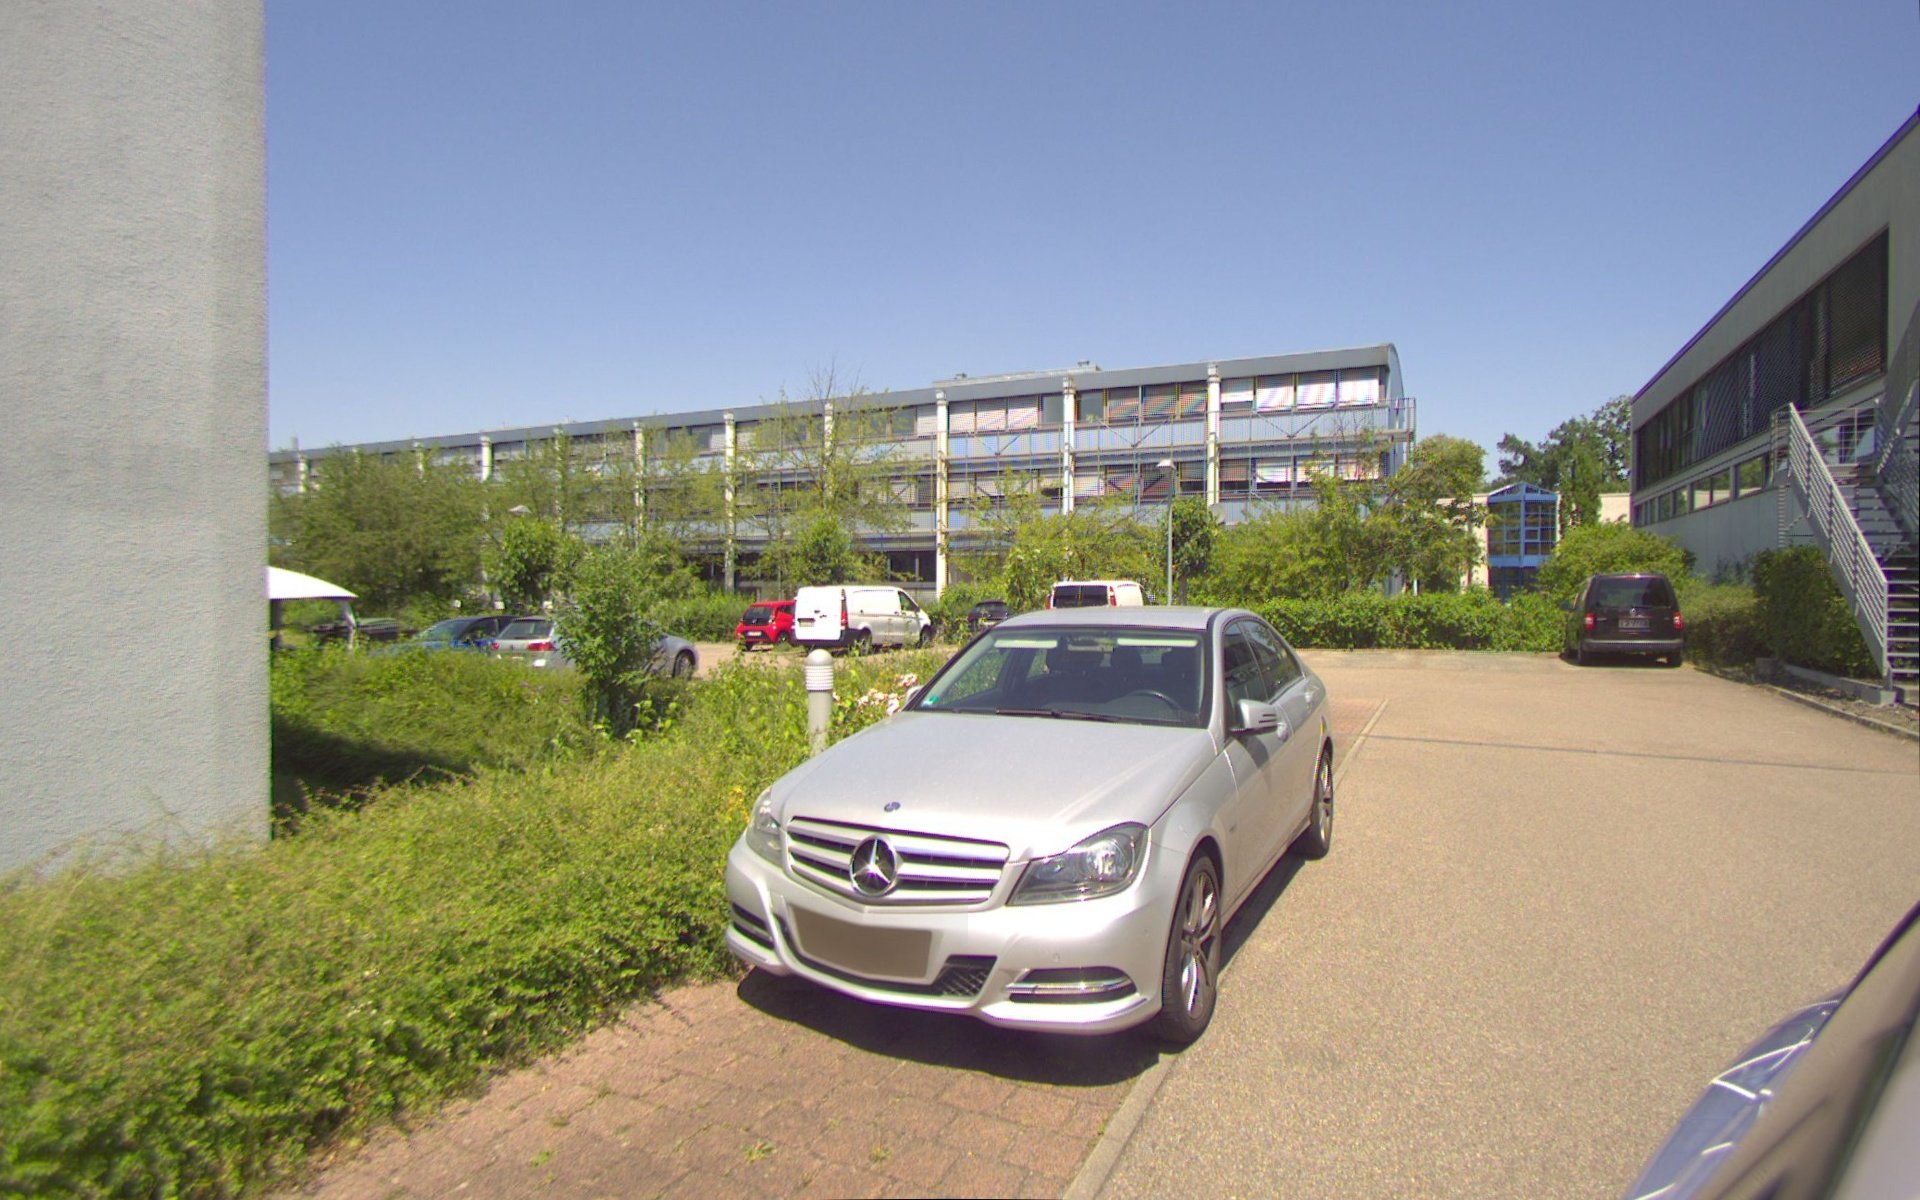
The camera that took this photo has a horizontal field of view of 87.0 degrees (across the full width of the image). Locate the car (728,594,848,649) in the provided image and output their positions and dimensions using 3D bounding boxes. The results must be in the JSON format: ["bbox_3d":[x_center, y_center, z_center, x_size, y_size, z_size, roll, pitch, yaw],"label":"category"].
[{"bbox_3d":[-5.212,0.619,31.071,1.609,1.506,3.884,-1,1,28],"label":"car"}]

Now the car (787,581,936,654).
[{"bbox_3d":[-2.692,0.426,28.855,1.839,1.879,4.888,-1,1,28],"label":"car"}]

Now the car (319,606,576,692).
[{"bbox_3d":[-10.316,0.915,20.798,1.838,1.513,4.572,-1,0,26],"label":"car"}]

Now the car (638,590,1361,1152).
[{"bbox_3d":[0.717,0.684,4.980,1.789,1.415,4.375,0,1,29],"label":"car"}]

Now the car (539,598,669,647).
[{"bbox_3d":[-12.013,0.712,34.377,1.724,1.502,4.045,-1,0,28],"label":"car"}]

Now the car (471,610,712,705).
[{"bbox_3d":[-6.953,1.009,19.616,1.838,1.539,4.388,-1,0,26],"label":"car"}]

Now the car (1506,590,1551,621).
[{"bbox_3d":[33.057,0.291,58.971,1.816,1.586,3.971,0,2,23],"label":"car"}]

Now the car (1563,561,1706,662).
[{"bbox_3d":[13.952,0.195,21.166,1.849,1.883,4.192,-1,0,25],"label":"car"}]

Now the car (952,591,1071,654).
[{"bbox_3d":[1.472,0.553,27.078,1.721,1.502,4.161,-1,0,25],"label":"car"}]

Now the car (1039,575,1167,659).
[{"bbox_3d":[3.684,0.359,25.312,1.849,1.883,4.637,-1,0,25],"label":"car"}]
